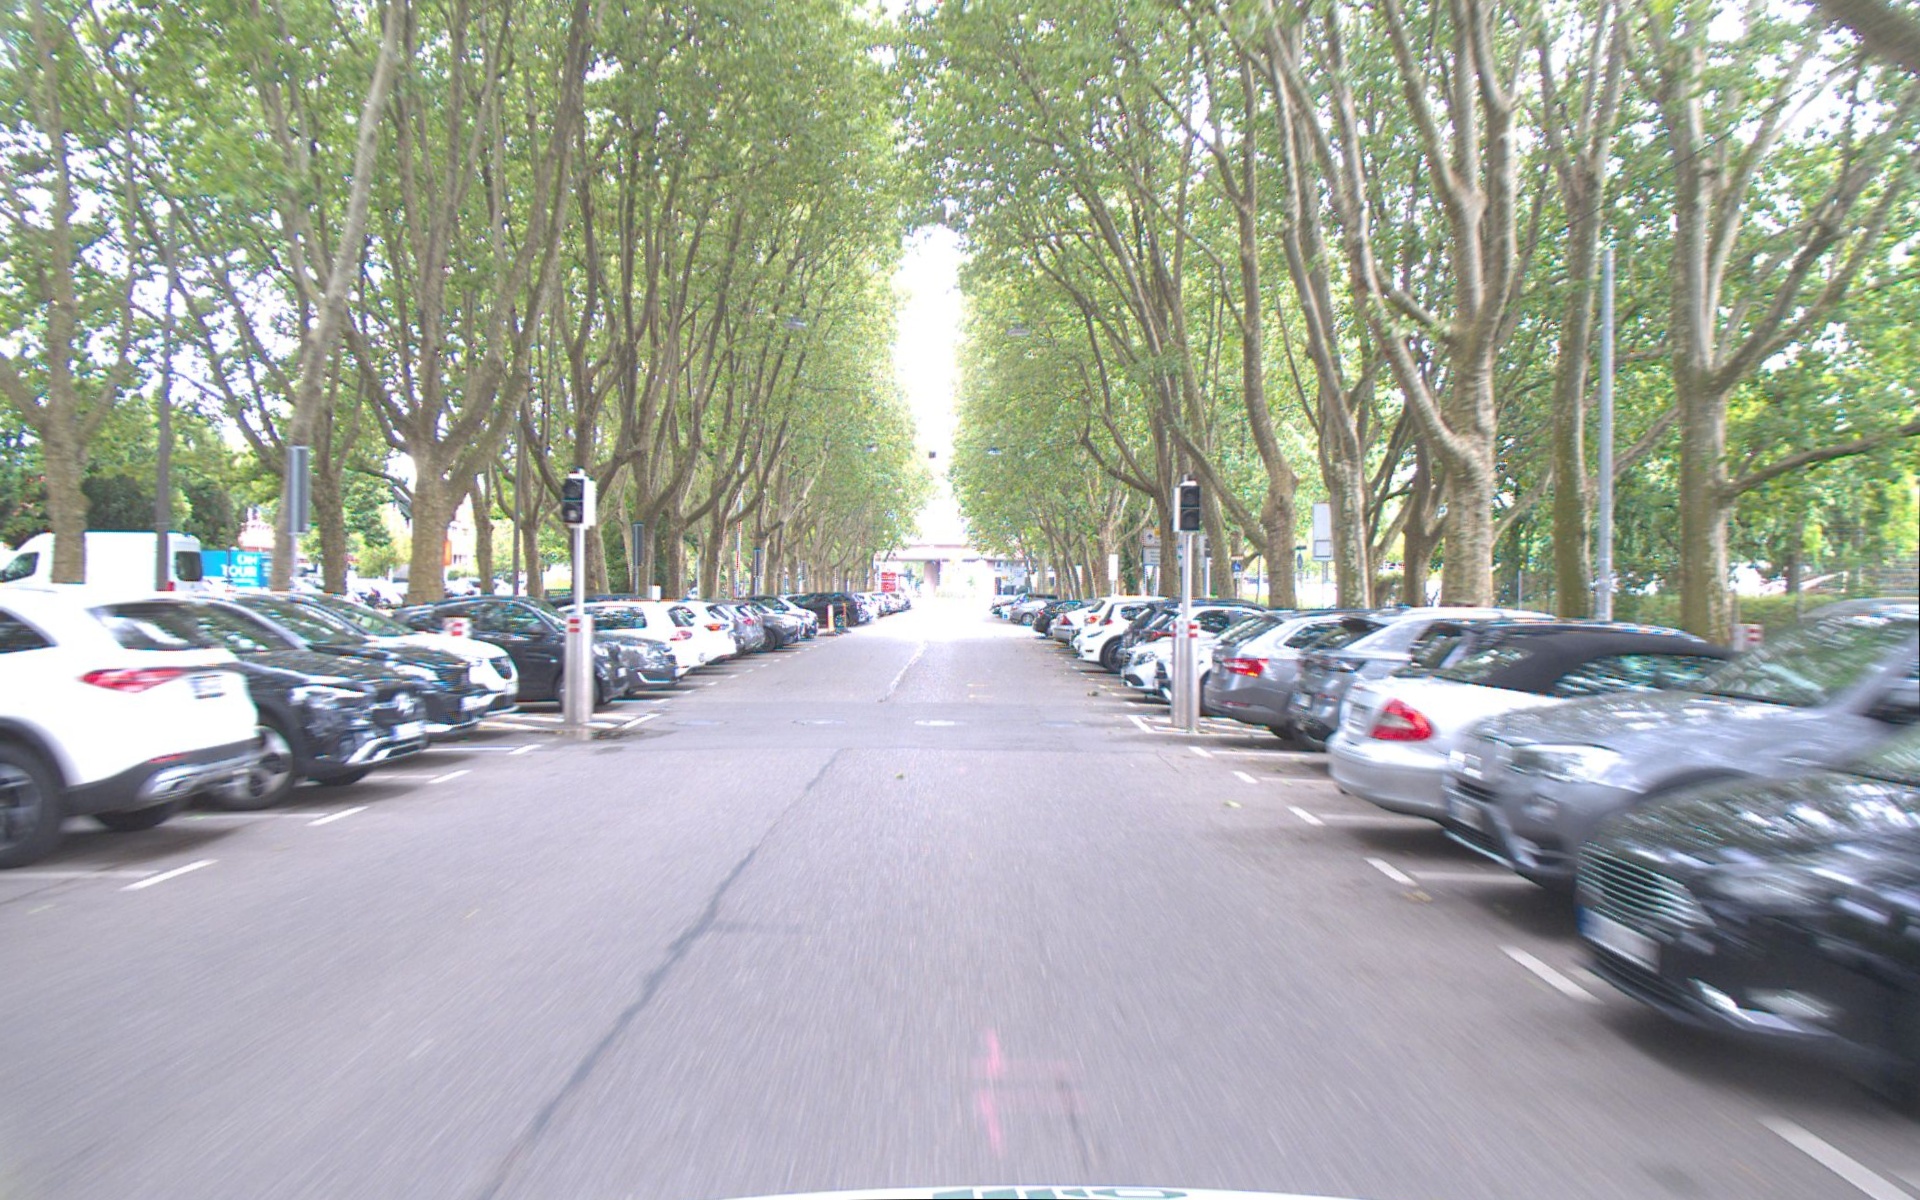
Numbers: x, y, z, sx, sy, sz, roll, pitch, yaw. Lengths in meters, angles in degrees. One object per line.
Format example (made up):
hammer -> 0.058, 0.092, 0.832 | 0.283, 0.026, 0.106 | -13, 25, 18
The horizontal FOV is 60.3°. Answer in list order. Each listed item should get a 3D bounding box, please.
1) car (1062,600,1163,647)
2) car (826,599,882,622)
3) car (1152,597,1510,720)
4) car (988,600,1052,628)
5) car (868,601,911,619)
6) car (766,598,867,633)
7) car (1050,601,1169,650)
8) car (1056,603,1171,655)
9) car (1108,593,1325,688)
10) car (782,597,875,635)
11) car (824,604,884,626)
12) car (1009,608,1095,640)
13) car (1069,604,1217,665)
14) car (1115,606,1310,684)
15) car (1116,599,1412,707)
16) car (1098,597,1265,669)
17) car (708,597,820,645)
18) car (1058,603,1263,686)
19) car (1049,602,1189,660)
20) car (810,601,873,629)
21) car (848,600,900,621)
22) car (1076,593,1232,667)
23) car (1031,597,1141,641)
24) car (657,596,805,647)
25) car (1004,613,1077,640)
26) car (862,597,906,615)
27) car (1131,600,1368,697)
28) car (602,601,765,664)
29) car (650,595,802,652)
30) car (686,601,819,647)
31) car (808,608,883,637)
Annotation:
car -> 5.352, 0.819, 58.146 | 3.355, 1.534, 1.555 | 2, 0, -1
car -> -7.521, 0.723, 117.883 | 3.733, 1.542, 1.687 | -2, 0, 5
car -> 5.012, 0.771, 22.728 | 4.520, 1.495, 1.649 | 2, 0, -1
car -> 4.122, 0.972, 114.555 | 4.289, 1.782, 1.730 | 1, 0, -3
car -> -6.321, 0.859, 149.099 | 3.734, 1.542, 1.686 | 1, 0, 3
car -> -6.702, 0.715, 77.583 | 4.570, 1.452, 1.999 | -2, 0, -2
car -> 4.771, 0.806, 53.012 | 3.604, 1.449, 1.518 | 2, 0, -2
car -> 4.617, 0.857, 50.123 | 3.354, 1.449, 1.519 | 2, 0, 2
car -> 4.758, 0.736, 30.987 | 3.701, 1.625, 1.819 | 2, 0, -4
car -> -6.354, 0.761, 80.467 | 4.381, 1.706, 1.762 | -2, 0, -2
car -> -7.061, 0.994, 110.339 | 3.733, 1.319, 1.787 | -2, 0, 5
car -> 4.878, 1.260, 87.574 | 4.478, 1.512, 2.001 | 1, 0, 5
car -> 4.694, 0.889, 42.665 | 3.573, 1.434, 1.518 | 2, 0, -4
car -> 4.963, 0.881, 32.779 | 3.573, 1.395, 1.518 | 2, 0, -4
car -> 4.635, 0.801, 25.520 | 4.212, 1.495, 1.623 | 2, 0, -4
car -> 5.118, 0.754, 38.436 | 3.573, 1.546, 1.642 | 2, 0, -4
car -> -6.821, 0.726, 57.935 | 3.750, 1.582, 1.693 | -1, 0, -3
car -> 4.264, 0.934, 35.557 | 4.084, 1.624, 1.853 | 2, 0, -4
car -> 4.377, 0.841, 45.885 | 3.573, 1.449, 1.984 | 2, 0, -4
car -> -7.464, 0.921, 104.436 | 3.733, 1.630, 1.787 | -2, 0, 5
car -> -6.648, 0.806, 128.234 | 3.733, 1.542, 1.687 | -2, 0, 5
car -> 4.749, 0.718, 40.741 | 3.573, 1.696, 1.518 | 2, 0, -4
car -> 4.587, 0.680, 60.586 | 3.839, 1.477, 1.555 | 2, 0, -1
car -> -6.940, 0.645, 50.387 | 4.313, 1.455, 1.693 | -1, 0, -3
car -> 4.655, 1.514, 94.927 | 4.087, 1.467, 1.732 | 1, 0, 5
car -> -6.754, 0.517, 147.155 | 3.734, 1.542, 1.686 | 1, 0, 3
car -> 4.908, 0.807, 28.284 | 3.701, 1.495, 1.623 | 2, 0, -4
car -> -6.746, 0.773, 40.639 | 3.750, 1.455, 1.693 | -1, 0, -3
car -> -6.344, 0.639, 45.139 | 3.941, 1.455, 1.693 | -1, 0, -3
car -> -6.896, 0.791, 55.187 | 4.246, 1.455, 1.693 | -1, 0, -3
car -> -6.080, 1.189, 87.919 | 3.733, 1.377, 1.663 | -2, 0, 5
